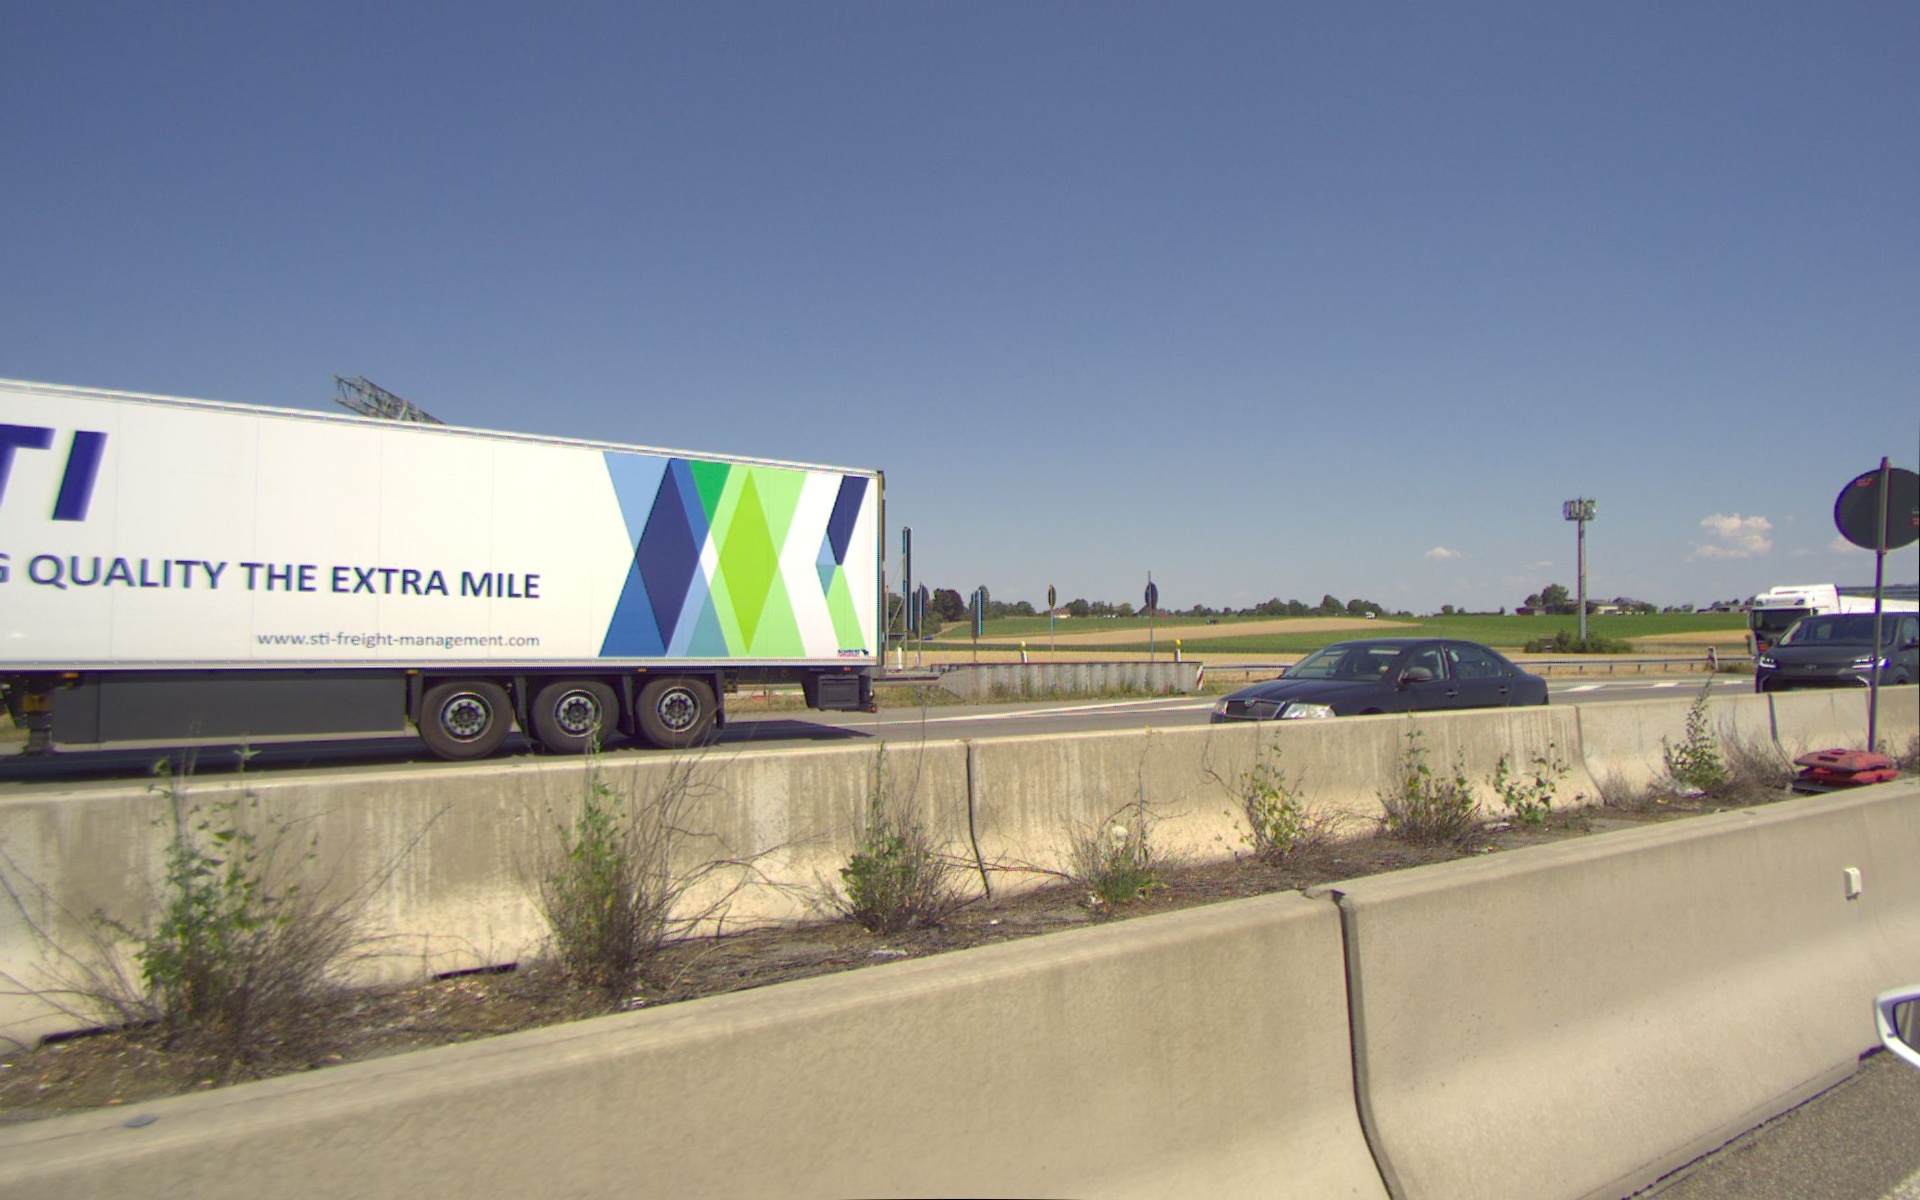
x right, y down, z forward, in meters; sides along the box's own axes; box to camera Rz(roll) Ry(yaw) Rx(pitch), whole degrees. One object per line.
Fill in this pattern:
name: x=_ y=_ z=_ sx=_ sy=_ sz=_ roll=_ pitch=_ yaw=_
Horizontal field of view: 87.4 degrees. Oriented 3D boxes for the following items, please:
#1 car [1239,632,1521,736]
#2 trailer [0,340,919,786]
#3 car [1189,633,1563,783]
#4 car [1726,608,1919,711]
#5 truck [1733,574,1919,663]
car: x=7.139 y=1.315 z=16.918 sx=4.864 sy=1.502 sz=1.838 roll=1 pitch=-1 yaw=-30
trailer: x=-6.855 y=-0.238 z=13.220 sx=12.841 sy=4.432 sz=2.879 roll=1 pitch=-3 yaw=-31
car: x=4.693 y=1.071 z=11.182 sx=4.216 sy=1.369 sz=1.648 roll=1 pitch=-1 yaw=-30
car: x=15.853 y=0.977 z=17.747 sx=5.281 sy=1.590 sz=1.835 roll=1 pitch=-1 yaw=-30
truck: x=41.954 y=0.978 z=47.928 sx=13.124 sy=3.825 sz=2.888 roll=1 pitch=-3 yaw=-29
